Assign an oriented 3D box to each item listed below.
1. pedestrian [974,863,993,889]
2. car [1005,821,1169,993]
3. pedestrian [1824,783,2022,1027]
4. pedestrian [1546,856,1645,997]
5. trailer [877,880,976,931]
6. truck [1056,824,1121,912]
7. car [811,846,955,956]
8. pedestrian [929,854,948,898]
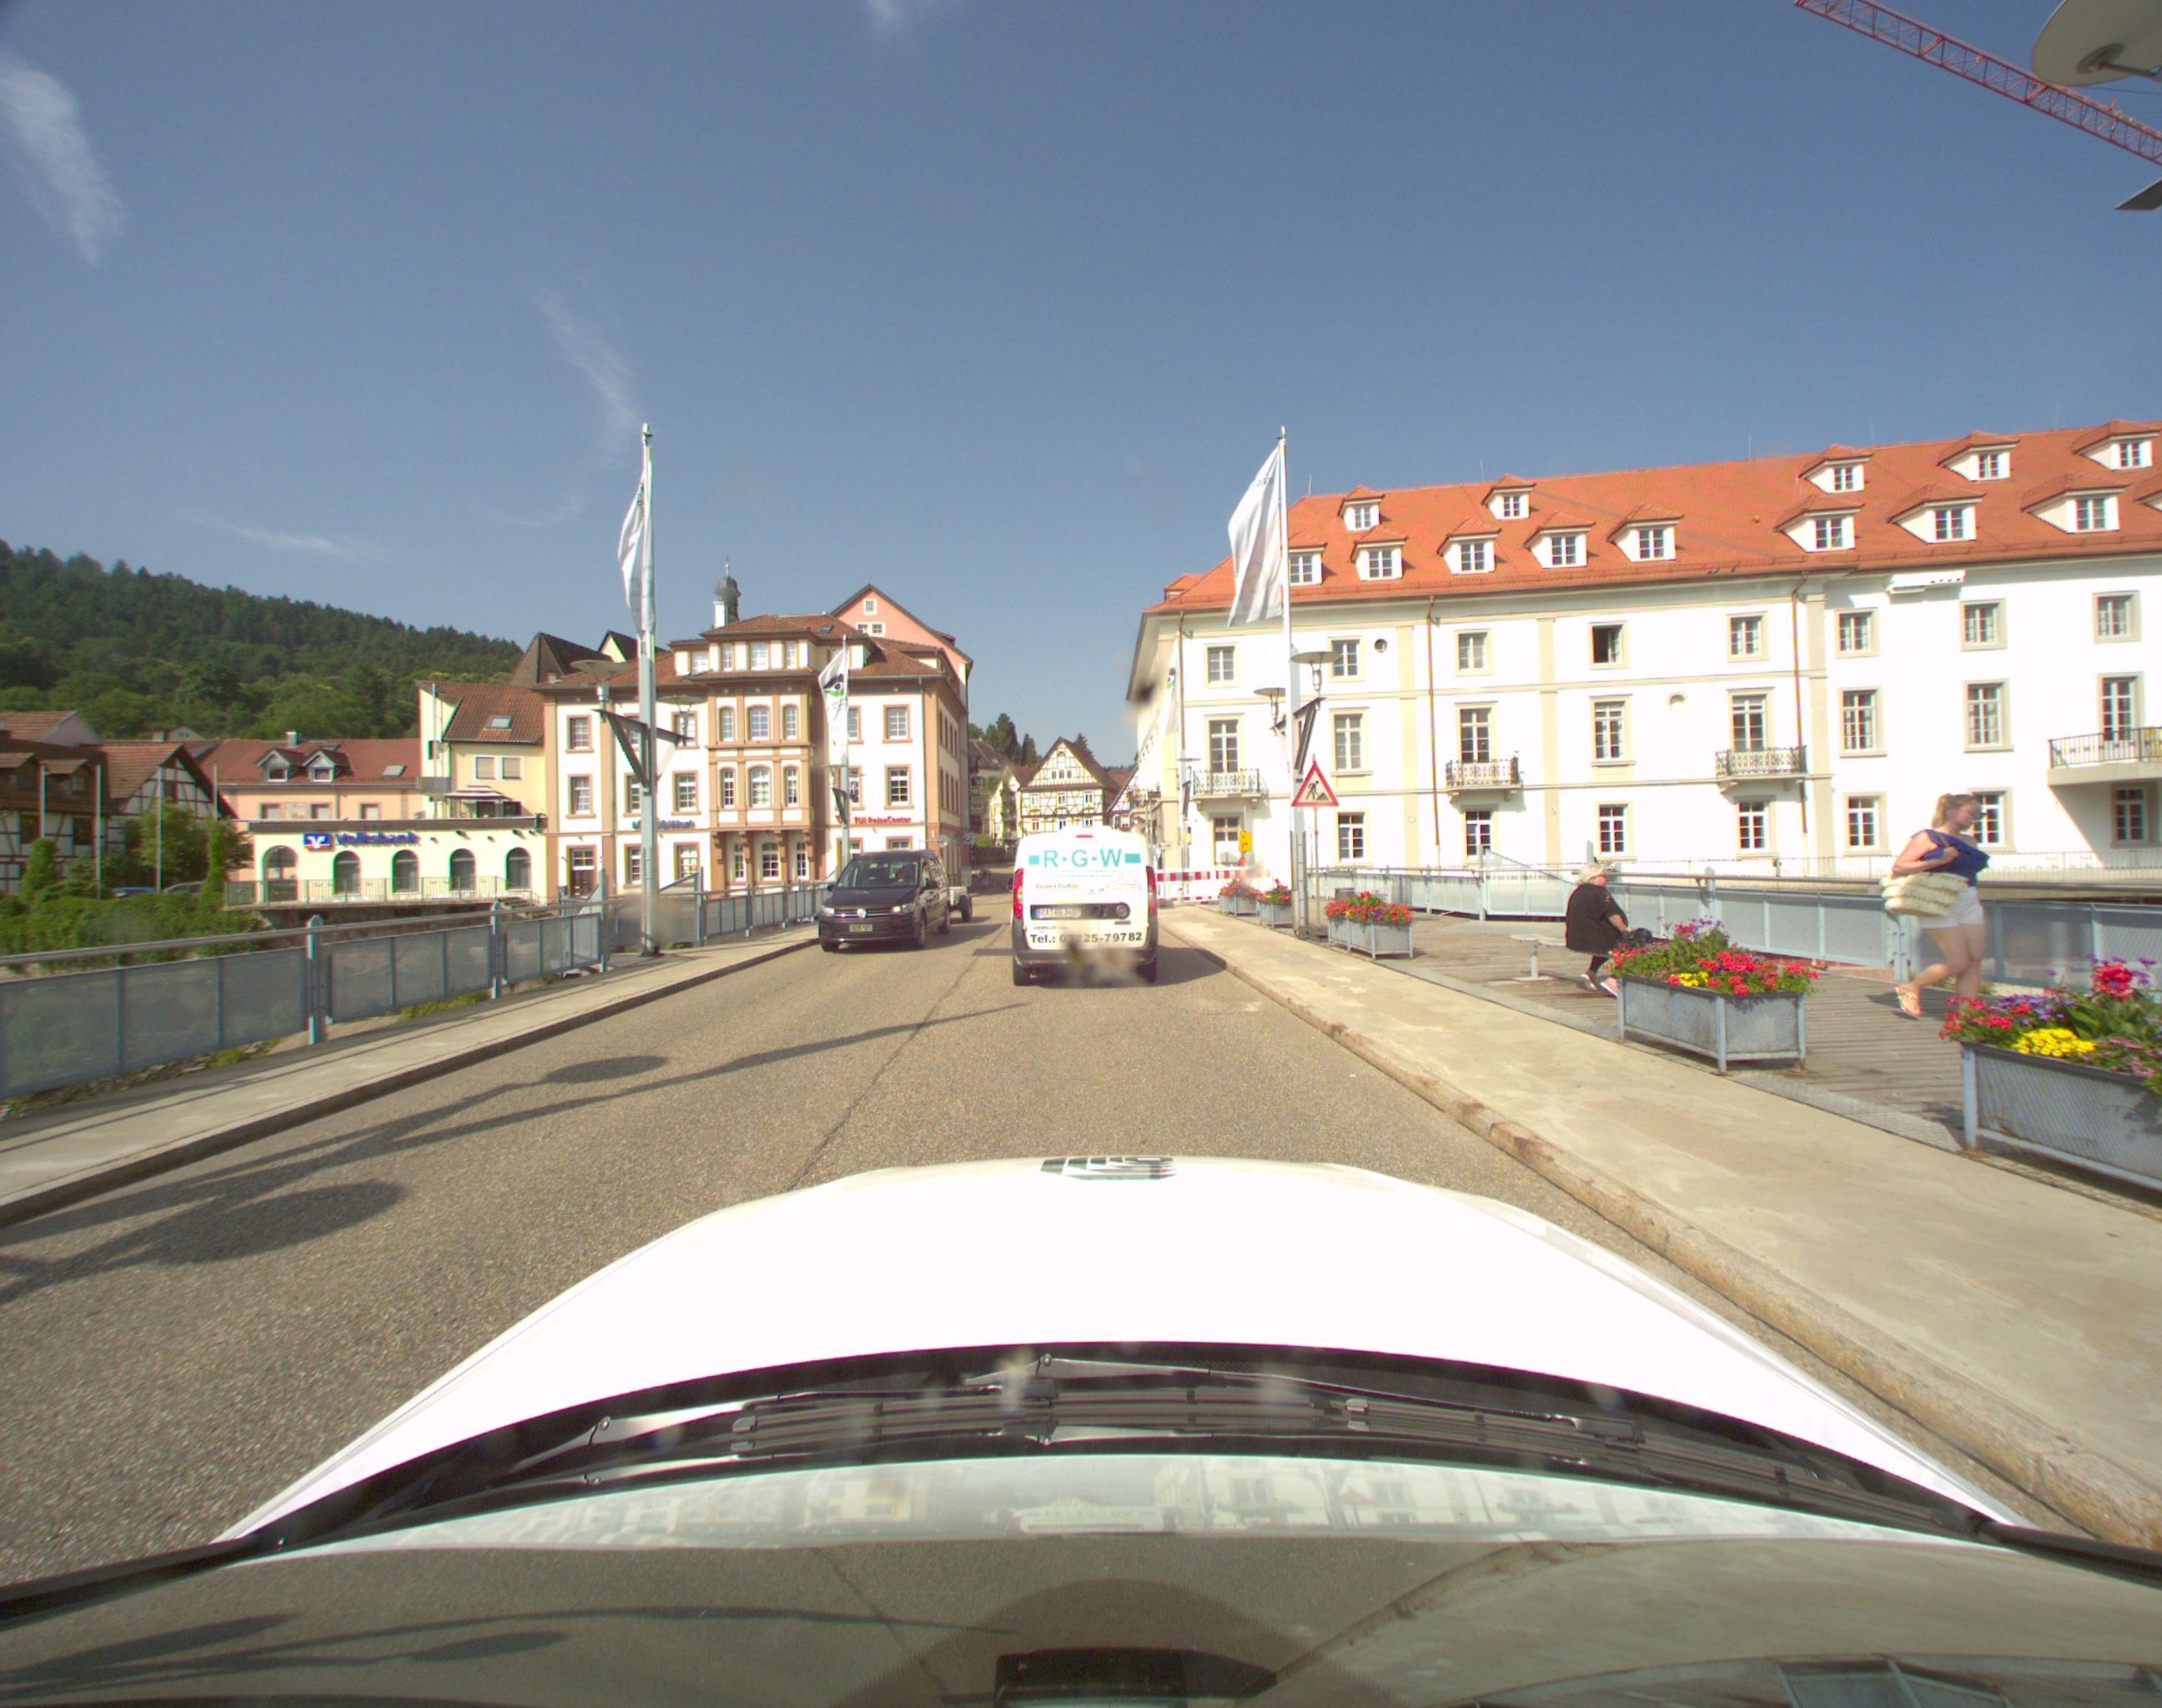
[{"bbox_3d":[-6.373,1.430,53.387,1.070,1.647,0.686,-2,0,1],"label":"pedestrian"},{"bbox_3d":[-0.104,0.606,11.354,1.841,1.906,4.307,-1,-1,-5],"label":"car"},{"bbox_3d":[6.359,0.358,6.188,0.725,1.723,0.746,-1,0,-6],"label":"pedestrian"},{"bbox_3d":[4.807,0.650,7.630,0.451,1.244,0.625,-2,-1,-7],"label":"pedestrian"},{"bbox_3d":[-3.708,1.203,20.255,1.746,1.022,4.182,-2,-1,-2],"label":"trailer"},{"bbox_3d":[0.159,0.418,26.279,1.856,2.585,4.257,-1,0,-2],"label":"truck"},{"bbox_3d":[-3.631,0.769,15.808,1.772,1.792,4.693,-1,0,-2],"label":"car"},{"bbox_3d":[-5.750,0.881,32.858,0.613,1.762,0.863,-1,0,-3],"label":"pedestrian"}]
